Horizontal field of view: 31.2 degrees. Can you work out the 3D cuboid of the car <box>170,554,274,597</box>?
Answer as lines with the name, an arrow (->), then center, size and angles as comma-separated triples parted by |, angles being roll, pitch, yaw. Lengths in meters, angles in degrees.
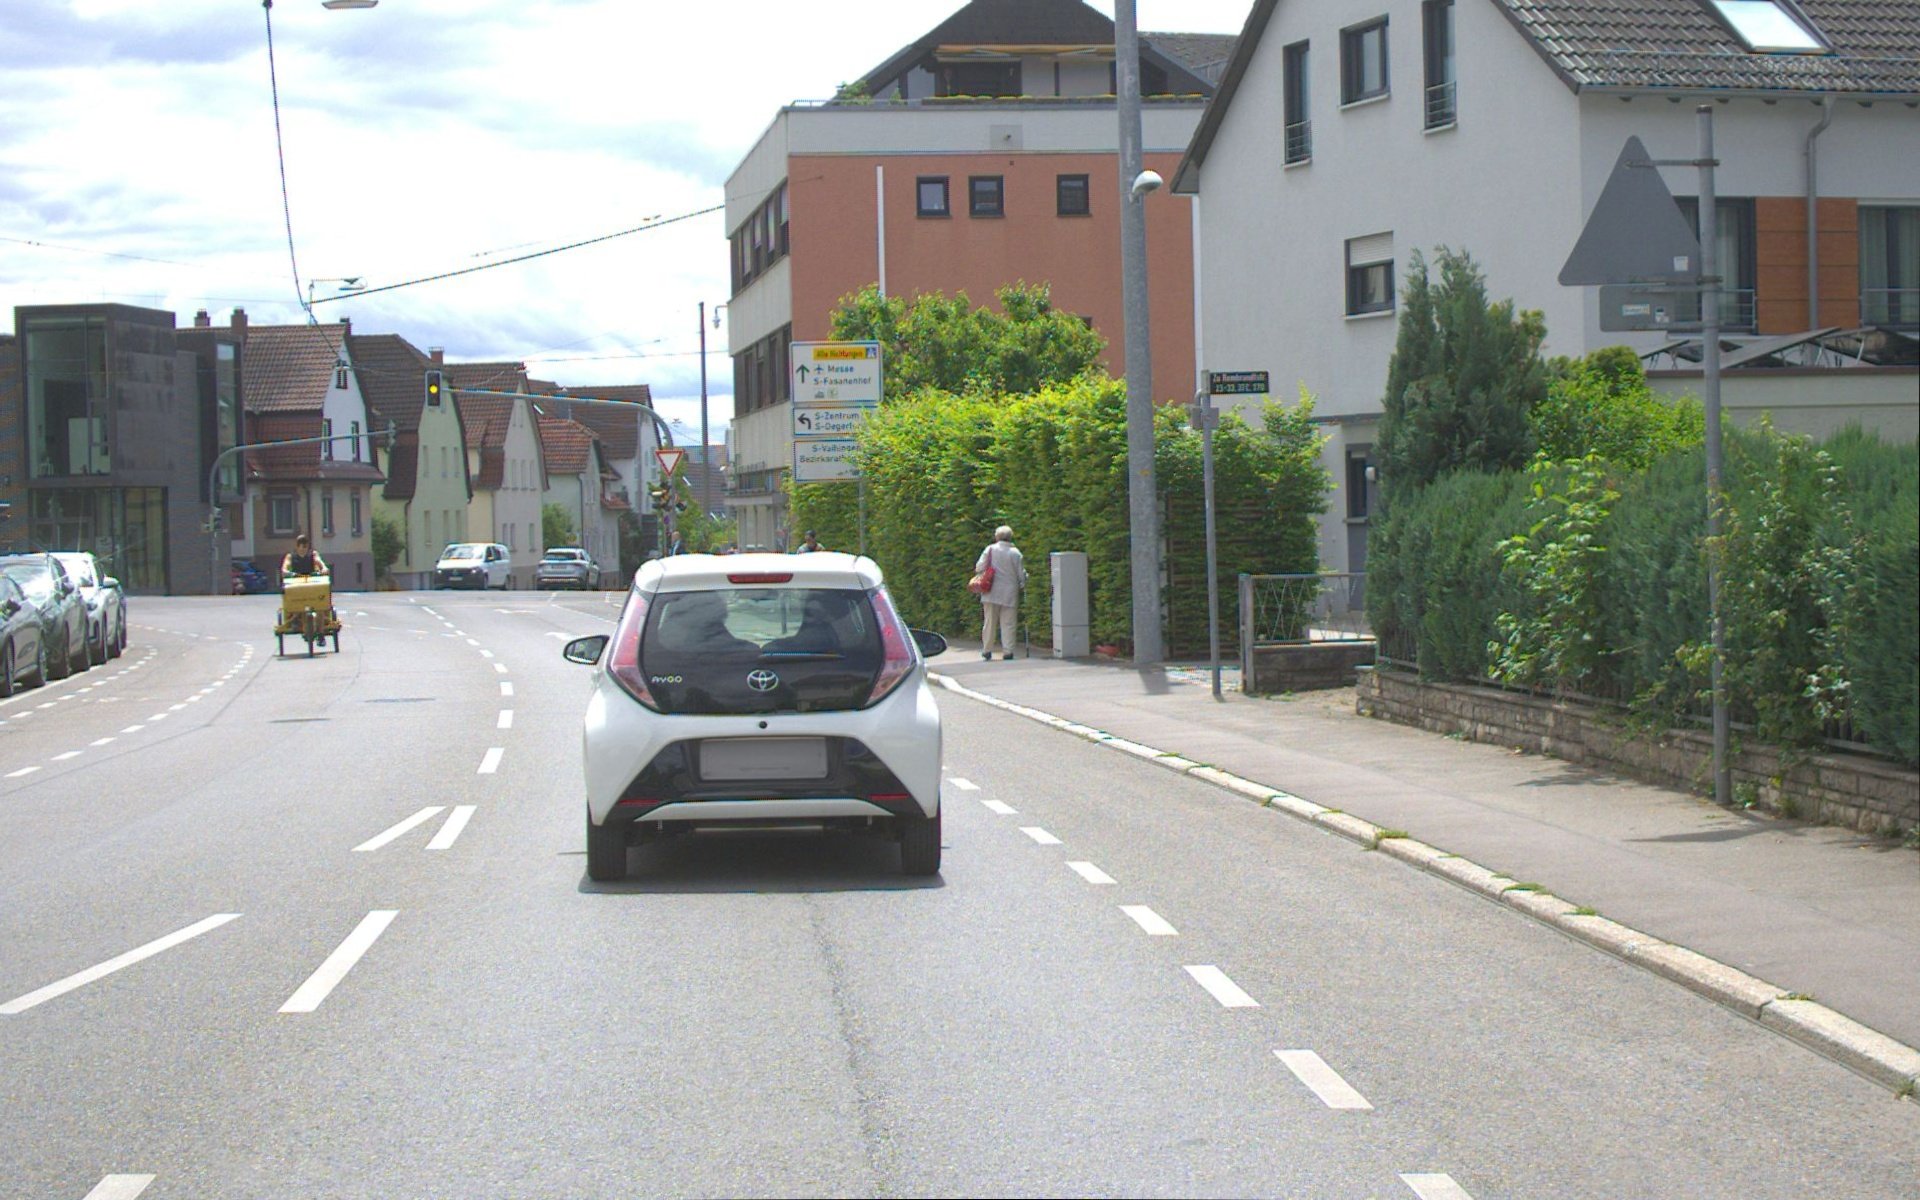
car -> -28.526, -0.937, 132.879 | 3.615, 1.600, 1.691 | 1, 0, 3

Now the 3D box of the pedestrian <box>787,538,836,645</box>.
pedestrian -> -2.271, -0.138, 52.581 | 0.602, 1.600, 0.836 | -3, 1, -8

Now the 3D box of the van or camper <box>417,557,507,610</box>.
van or camper -> -18.688, -0.642, 129.304 | 2.116, 1.919, 5.284 | 1, 1, 6

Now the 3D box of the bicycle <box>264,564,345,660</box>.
bicycle -> -9.438, 0.157, 49.565 | 0.863, 1.297, 2.662 | -1, 1, -5

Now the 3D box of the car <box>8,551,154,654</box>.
car -> -14.366, 0.004, 56.373 | 1.993, 1.582, 4.490 | -2, 1, -11

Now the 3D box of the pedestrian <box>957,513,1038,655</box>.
pedestrian -> 0.435, -0.192, 40.157 | 0.798, 1.612, 0.653 | -3, 1, -8

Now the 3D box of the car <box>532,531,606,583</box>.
car -> -14.608, -1.586, 128.617 | 1.994, 1.897, 3.999 | 1, 0, 5

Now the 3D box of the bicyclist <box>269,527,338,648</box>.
bicyclist -> -9.456, -0.192, 49.554 | 0.792, 1.708, 1.209 | -1, 1, -4

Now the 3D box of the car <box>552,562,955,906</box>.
car -> -0.933, 0.554, 16.264 | 1.697, 1.451, 3.299 | 1, 1, -2

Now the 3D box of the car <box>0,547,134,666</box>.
car -> -13.529, 0.064, 51.197 | 1.993, 1.645, 4.518 | -1, 1, -9

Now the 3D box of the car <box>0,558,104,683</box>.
car -> -12.797, 0.249, 46.047 | 1.993, 1.558, 4.691 | -1, 1, -7

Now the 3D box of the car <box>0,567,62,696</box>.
car -> -11.922, 0.352, 40.450 | 1.993, 1.403, 4.691 | -1, 1, -7
